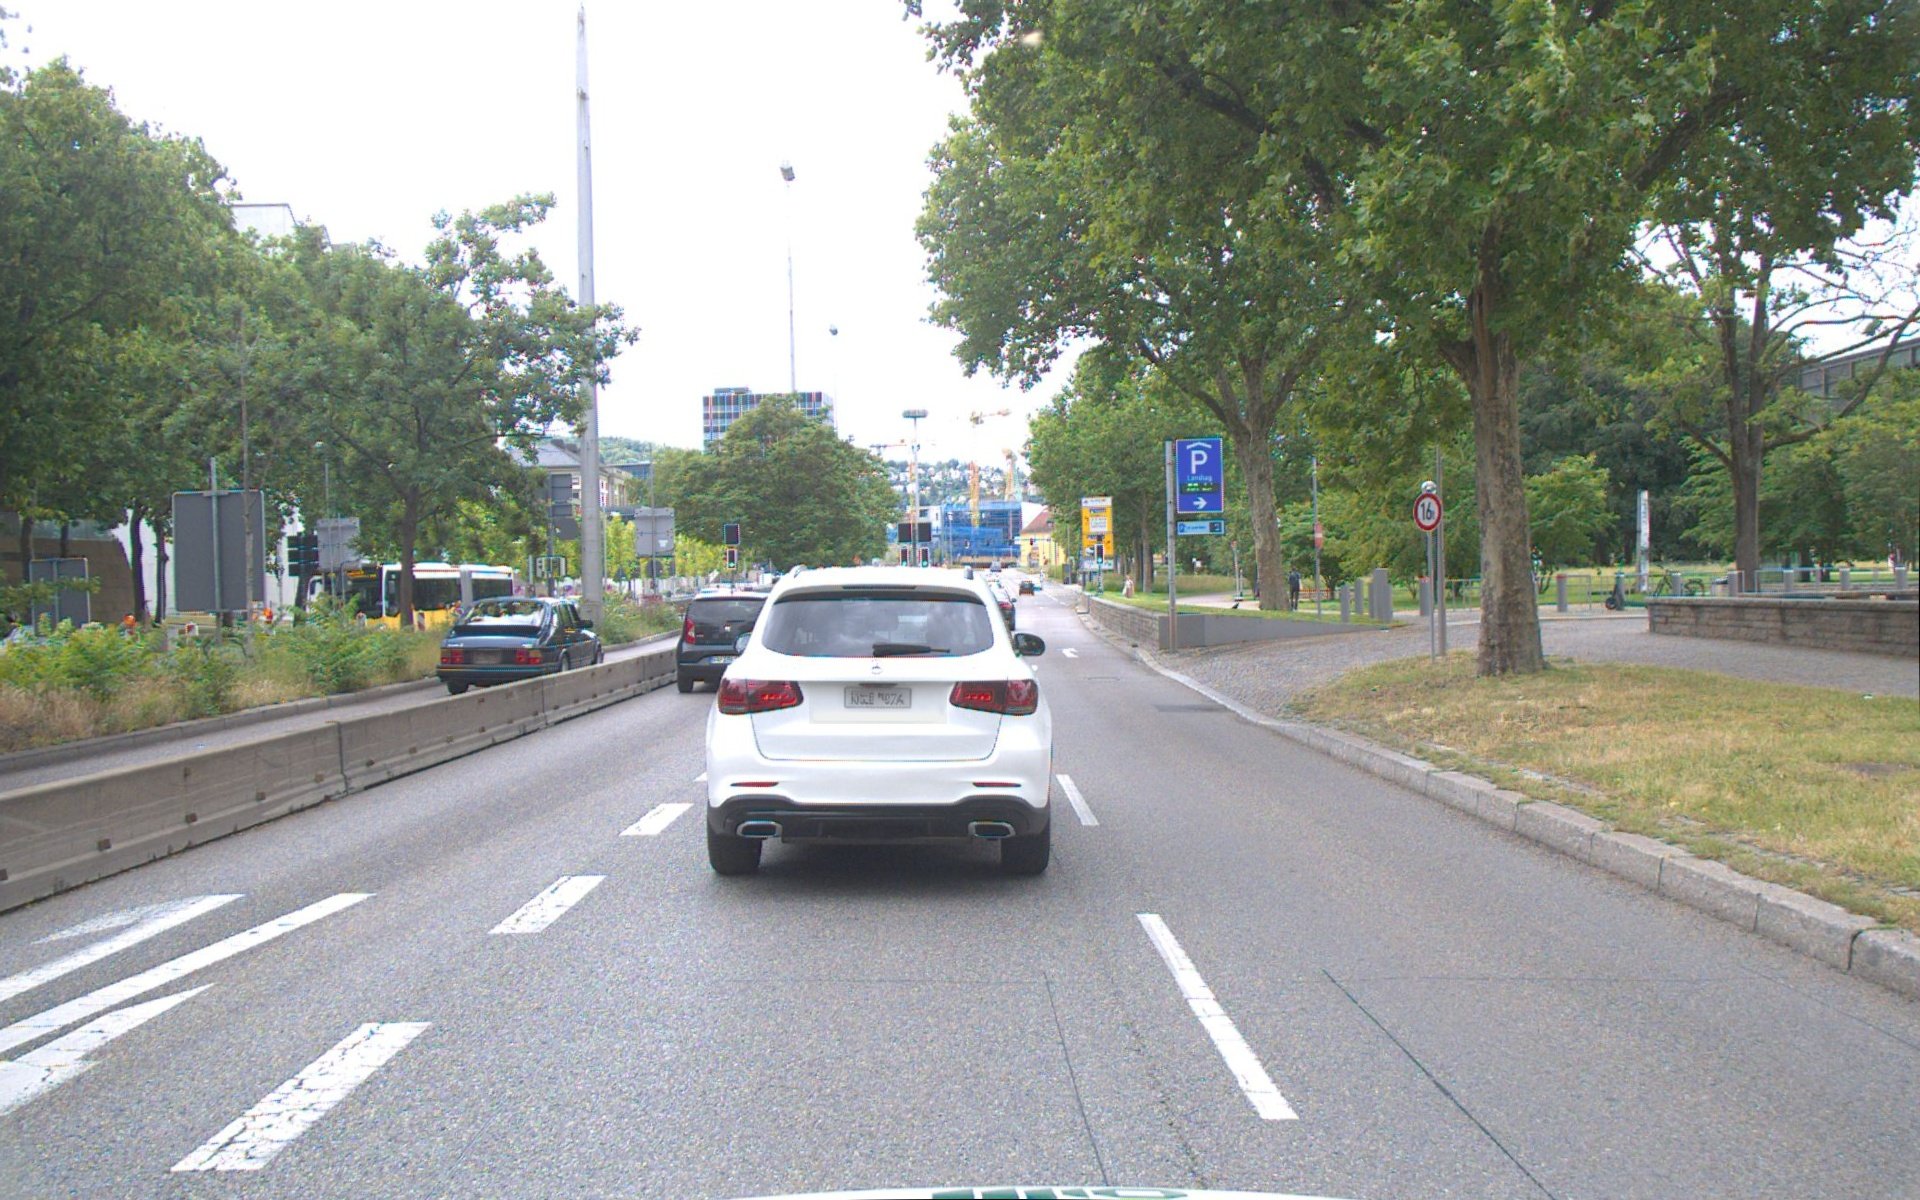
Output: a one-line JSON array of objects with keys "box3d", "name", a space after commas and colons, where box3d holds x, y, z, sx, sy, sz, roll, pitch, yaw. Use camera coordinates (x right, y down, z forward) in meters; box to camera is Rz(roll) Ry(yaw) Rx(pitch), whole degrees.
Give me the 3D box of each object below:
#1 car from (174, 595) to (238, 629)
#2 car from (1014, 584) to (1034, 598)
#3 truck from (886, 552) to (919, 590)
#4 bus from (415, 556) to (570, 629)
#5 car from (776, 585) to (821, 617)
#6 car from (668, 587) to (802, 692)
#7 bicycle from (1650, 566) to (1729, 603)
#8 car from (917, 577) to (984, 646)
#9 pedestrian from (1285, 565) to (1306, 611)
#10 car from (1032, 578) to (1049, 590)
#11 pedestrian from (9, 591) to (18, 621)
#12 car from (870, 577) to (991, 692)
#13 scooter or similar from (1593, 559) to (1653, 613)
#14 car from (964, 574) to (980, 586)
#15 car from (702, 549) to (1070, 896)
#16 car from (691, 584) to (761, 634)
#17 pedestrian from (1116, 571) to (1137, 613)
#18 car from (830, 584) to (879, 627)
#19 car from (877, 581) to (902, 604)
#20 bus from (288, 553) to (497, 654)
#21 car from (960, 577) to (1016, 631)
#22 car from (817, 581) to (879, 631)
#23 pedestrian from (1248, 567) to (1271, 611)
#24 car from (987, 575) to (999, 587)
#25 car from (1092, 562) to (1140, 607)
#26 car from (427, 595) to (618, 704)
[{"box3d": [-44.883, 0.696, 98.523, 1.953, 1.948, 3.999, -1, 0, -1], "name": "car"}, {"box3d": [6.523, -0.913, 168.289, 1.907, 1.453, 4.017, 0, 0, 1], "name": "car"}, {"box3d": [-4.546, -2.301, 132.529, 2.568, 2.911, 7.077, 0, 0, -1], "name": "truck"}, {"box3d": [-23.005, -0.411, 82.570, 3.592, 3.261, 14.274, -1, 1, 0], "name": "bus"}, {"box3d": [-7.760, 0.041, 79.602, 1.739, 1.445, 4.000, -1, 1, 0], "name": "car"}, {"box3d": [-3.427, 0.558, 25.745, 1.575, 1.499, 3.622, -1, 0, 0], "name": "car"}, {"box3d": [20.194, -0.414, 45.859, 0.934, 0.992, 2.786, 1, 0, -1], "name": "bicycle"}, {"box3d": [-0.223, 0.262, 41.939, 1.625, 1.668, 3.547, 0, 1, 0], "name": "car"}, {"box3d": [13.081, -0.460, 64.508, 0.743, 1.755, 0.699, -1, 0, 7], "name": "pedestrian"}, {"box3d": [9.752, -1.936, 201.564, 1.907, 1.343, 4.017, 0, 0, 1], "name": "car"}, {"box3d": [-34.438, 0.213, 60.172, 0.211, 1.097, 0.258, 1, 0, -18], "name": "pedestrian"}, {"box3d": [-0.473, 0.479, 26.209, 1.759, 1.636, 3.754, 1, 1, -1], "name": "car"}, {"box3d": [16.098, -0.324, 40.225, 0.622, 1.267, 2.226, 1, 0, 2], "name": "scooter or similar"}, {"box3d": [1.432, -2.384, 198.225, 1.907, 1.343, 4.017, 0, 0, 1], "name": "car"}, {"box3d": [-0.298, 0.573, 10.131, 1.751, 1.653, 4.438, 0, 0, 1], "name": "car"}, {"box3d": [-7.058, 0.266, 50.243, 1.627, 1.461, 3.959, 0, 0, -1], "name": "car"}, {"box3d": [8.150, -0.392, 81.143, 0.746, 2.049, 0.696, -1, 0, 36], "name": "pedestrian"}, {"box3d": [-4.211, 0.216, 66.814, 1.814, 1.656, 4.905, 0, 0, -2], "name": "car"}, {"box3d": [-5.068, -0.539, 119.154, 1.625, 1.539, 3.547, -1, 0, 0], "name": "car"}, {"box3d": [-23.125, -0.076, 68.686, 3.592, 3.260, 14.279, -1, 3, 0], "name": "bus"}, {"box3d": [0.953, 0.105, 57.961, 1.788, 1.783, 3.999, -1, 1, -1], "name": "car"}, {"box3d": [-3.408, 0.166, 50.900, 1.761, 1.462, 4.019, 0, 0, -2], "name": "car"}, {"box3d": [11.399, -0.410, 62.959, 0.650, 1.639, 0.637, -1, 0, -18], "name": "pedestrian"}, {"box3d": [4.817, -2.759, 241.702, 1.722, 1.698, 4.168, -1, 1, 0], "name": "car"}, {"box3d": [7.389, -0.722, 78.602, 1.952, 2.049, 4.000, 0, 0, 1], "name": "car"}, {"box3d": [-6.311, 0.656, 24.348, 1.644, 1.390, 4.542, -1, 1, -1], "name": "car"}]
